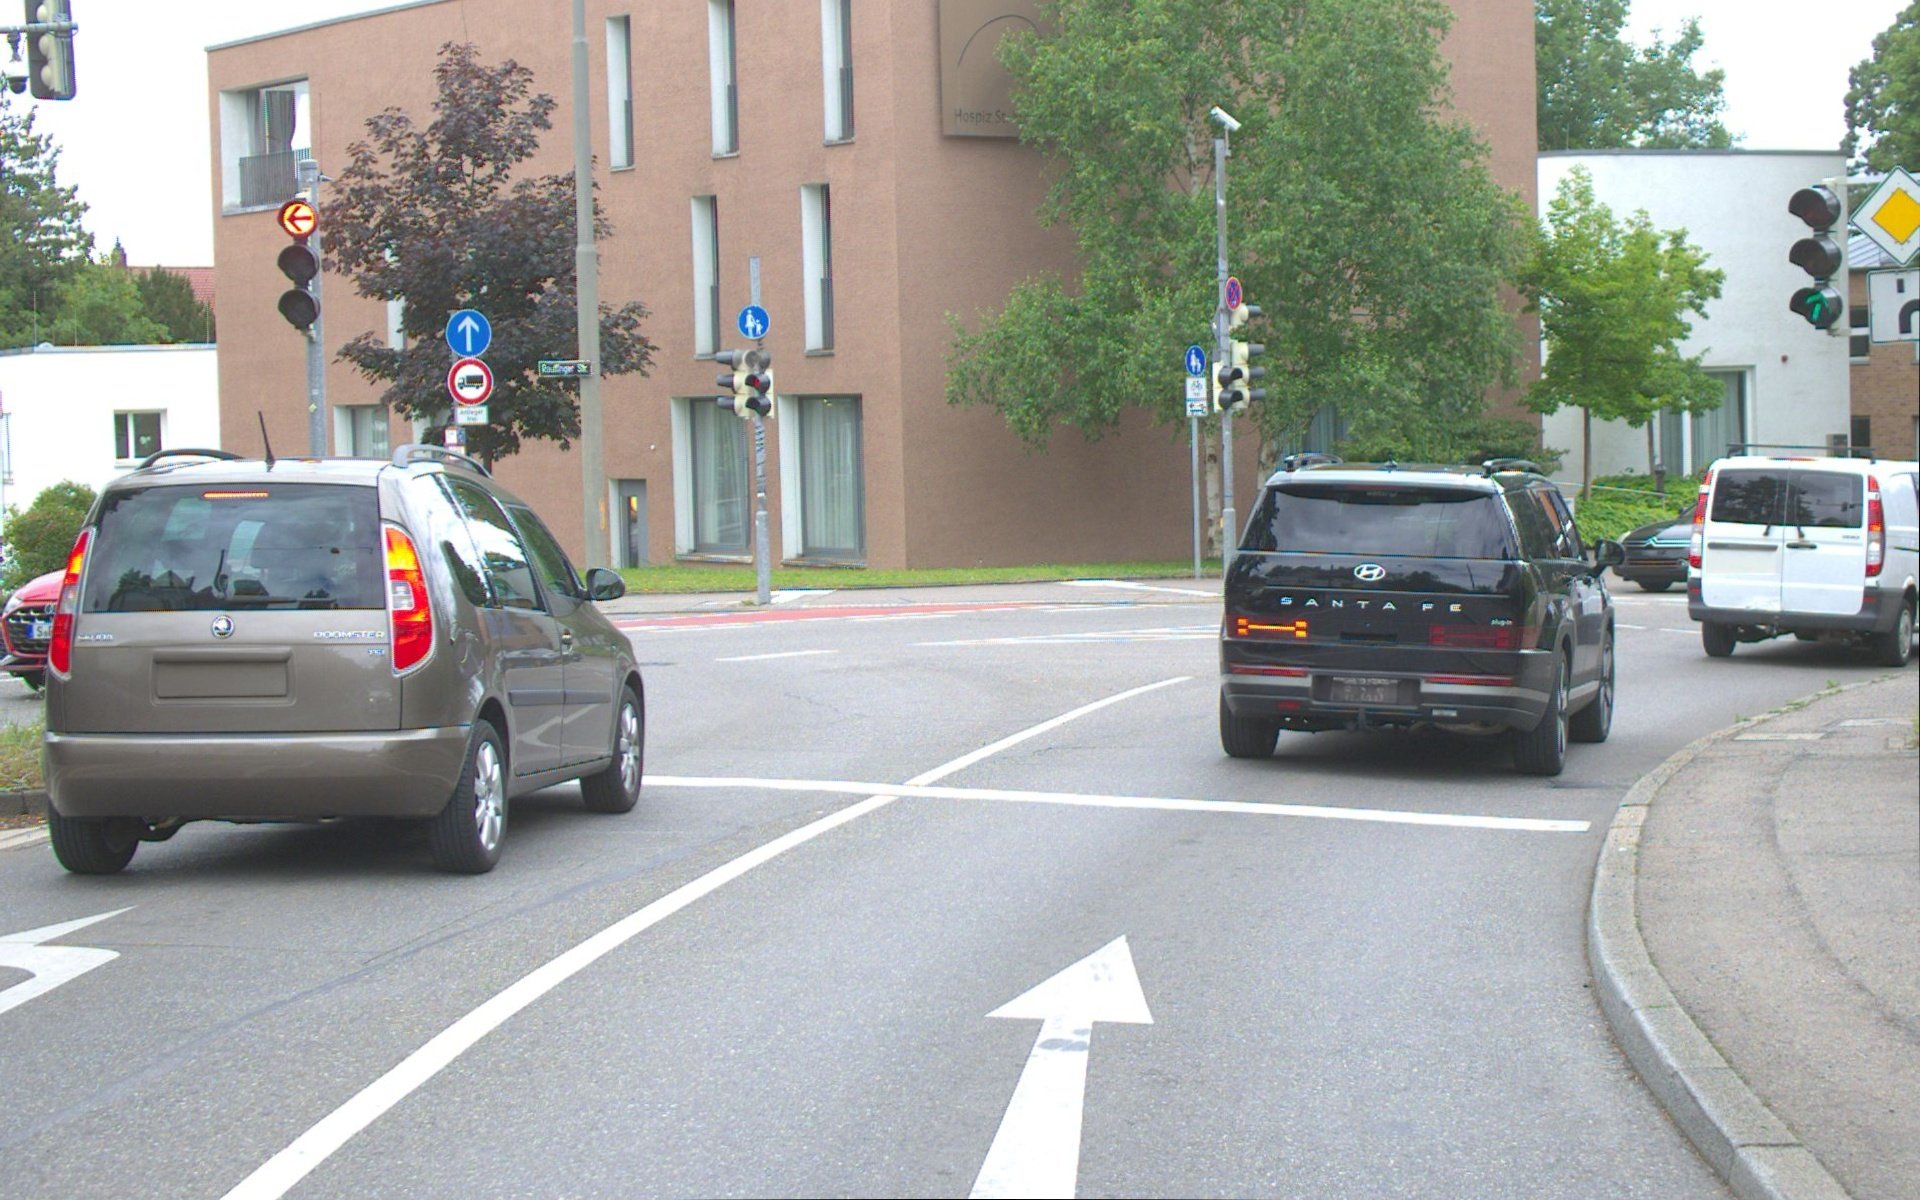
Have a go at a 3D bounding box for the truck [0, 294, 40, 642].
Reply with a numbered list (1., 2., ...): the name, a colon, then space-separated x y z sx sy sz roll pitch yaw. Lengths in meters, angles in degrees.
1. truck: -16.878 -1.887 51.381 3.125 4.718 11.796 -3 3 -29

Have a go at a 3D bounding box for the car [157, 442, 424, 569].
1. car: -11.522 -1.643 59.204 3.987 2.006 2.000 -4 3 -32

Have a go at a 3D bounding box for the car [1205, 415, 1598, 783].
1. car: 2.591 -0.102 20.159 1.994 1.875 3.999 2 3 8

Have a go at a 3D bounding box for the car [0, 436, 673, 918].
1. car: -2.553 0.198 14.439 1.893 1.700 4.000 -2 2 6

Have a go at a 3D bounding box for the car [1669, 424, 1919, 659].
1. car: 8.408 -0.637 32.743 1.965 2.006 4.421 3 4 29

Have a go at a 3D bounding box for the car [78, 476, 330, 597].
1. car: -13.829 -1.178 62.935 3.987 2.006 2.000 -4 3 -33

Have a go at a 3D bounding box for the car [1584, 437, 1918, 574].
1. car: 10.670 -1.292 46.178 4.772 1.652 1.999 -4 3 -42

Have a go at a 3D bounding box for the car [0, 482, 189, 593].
1. car: -17.935 -1.289 69.618 3.987 2.006 2.000 -4 3 -32

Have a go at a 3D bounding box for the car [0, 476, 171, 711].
1. car: -7.716 0.008 23.340 1.998 1.558 4.209 0 3 39
